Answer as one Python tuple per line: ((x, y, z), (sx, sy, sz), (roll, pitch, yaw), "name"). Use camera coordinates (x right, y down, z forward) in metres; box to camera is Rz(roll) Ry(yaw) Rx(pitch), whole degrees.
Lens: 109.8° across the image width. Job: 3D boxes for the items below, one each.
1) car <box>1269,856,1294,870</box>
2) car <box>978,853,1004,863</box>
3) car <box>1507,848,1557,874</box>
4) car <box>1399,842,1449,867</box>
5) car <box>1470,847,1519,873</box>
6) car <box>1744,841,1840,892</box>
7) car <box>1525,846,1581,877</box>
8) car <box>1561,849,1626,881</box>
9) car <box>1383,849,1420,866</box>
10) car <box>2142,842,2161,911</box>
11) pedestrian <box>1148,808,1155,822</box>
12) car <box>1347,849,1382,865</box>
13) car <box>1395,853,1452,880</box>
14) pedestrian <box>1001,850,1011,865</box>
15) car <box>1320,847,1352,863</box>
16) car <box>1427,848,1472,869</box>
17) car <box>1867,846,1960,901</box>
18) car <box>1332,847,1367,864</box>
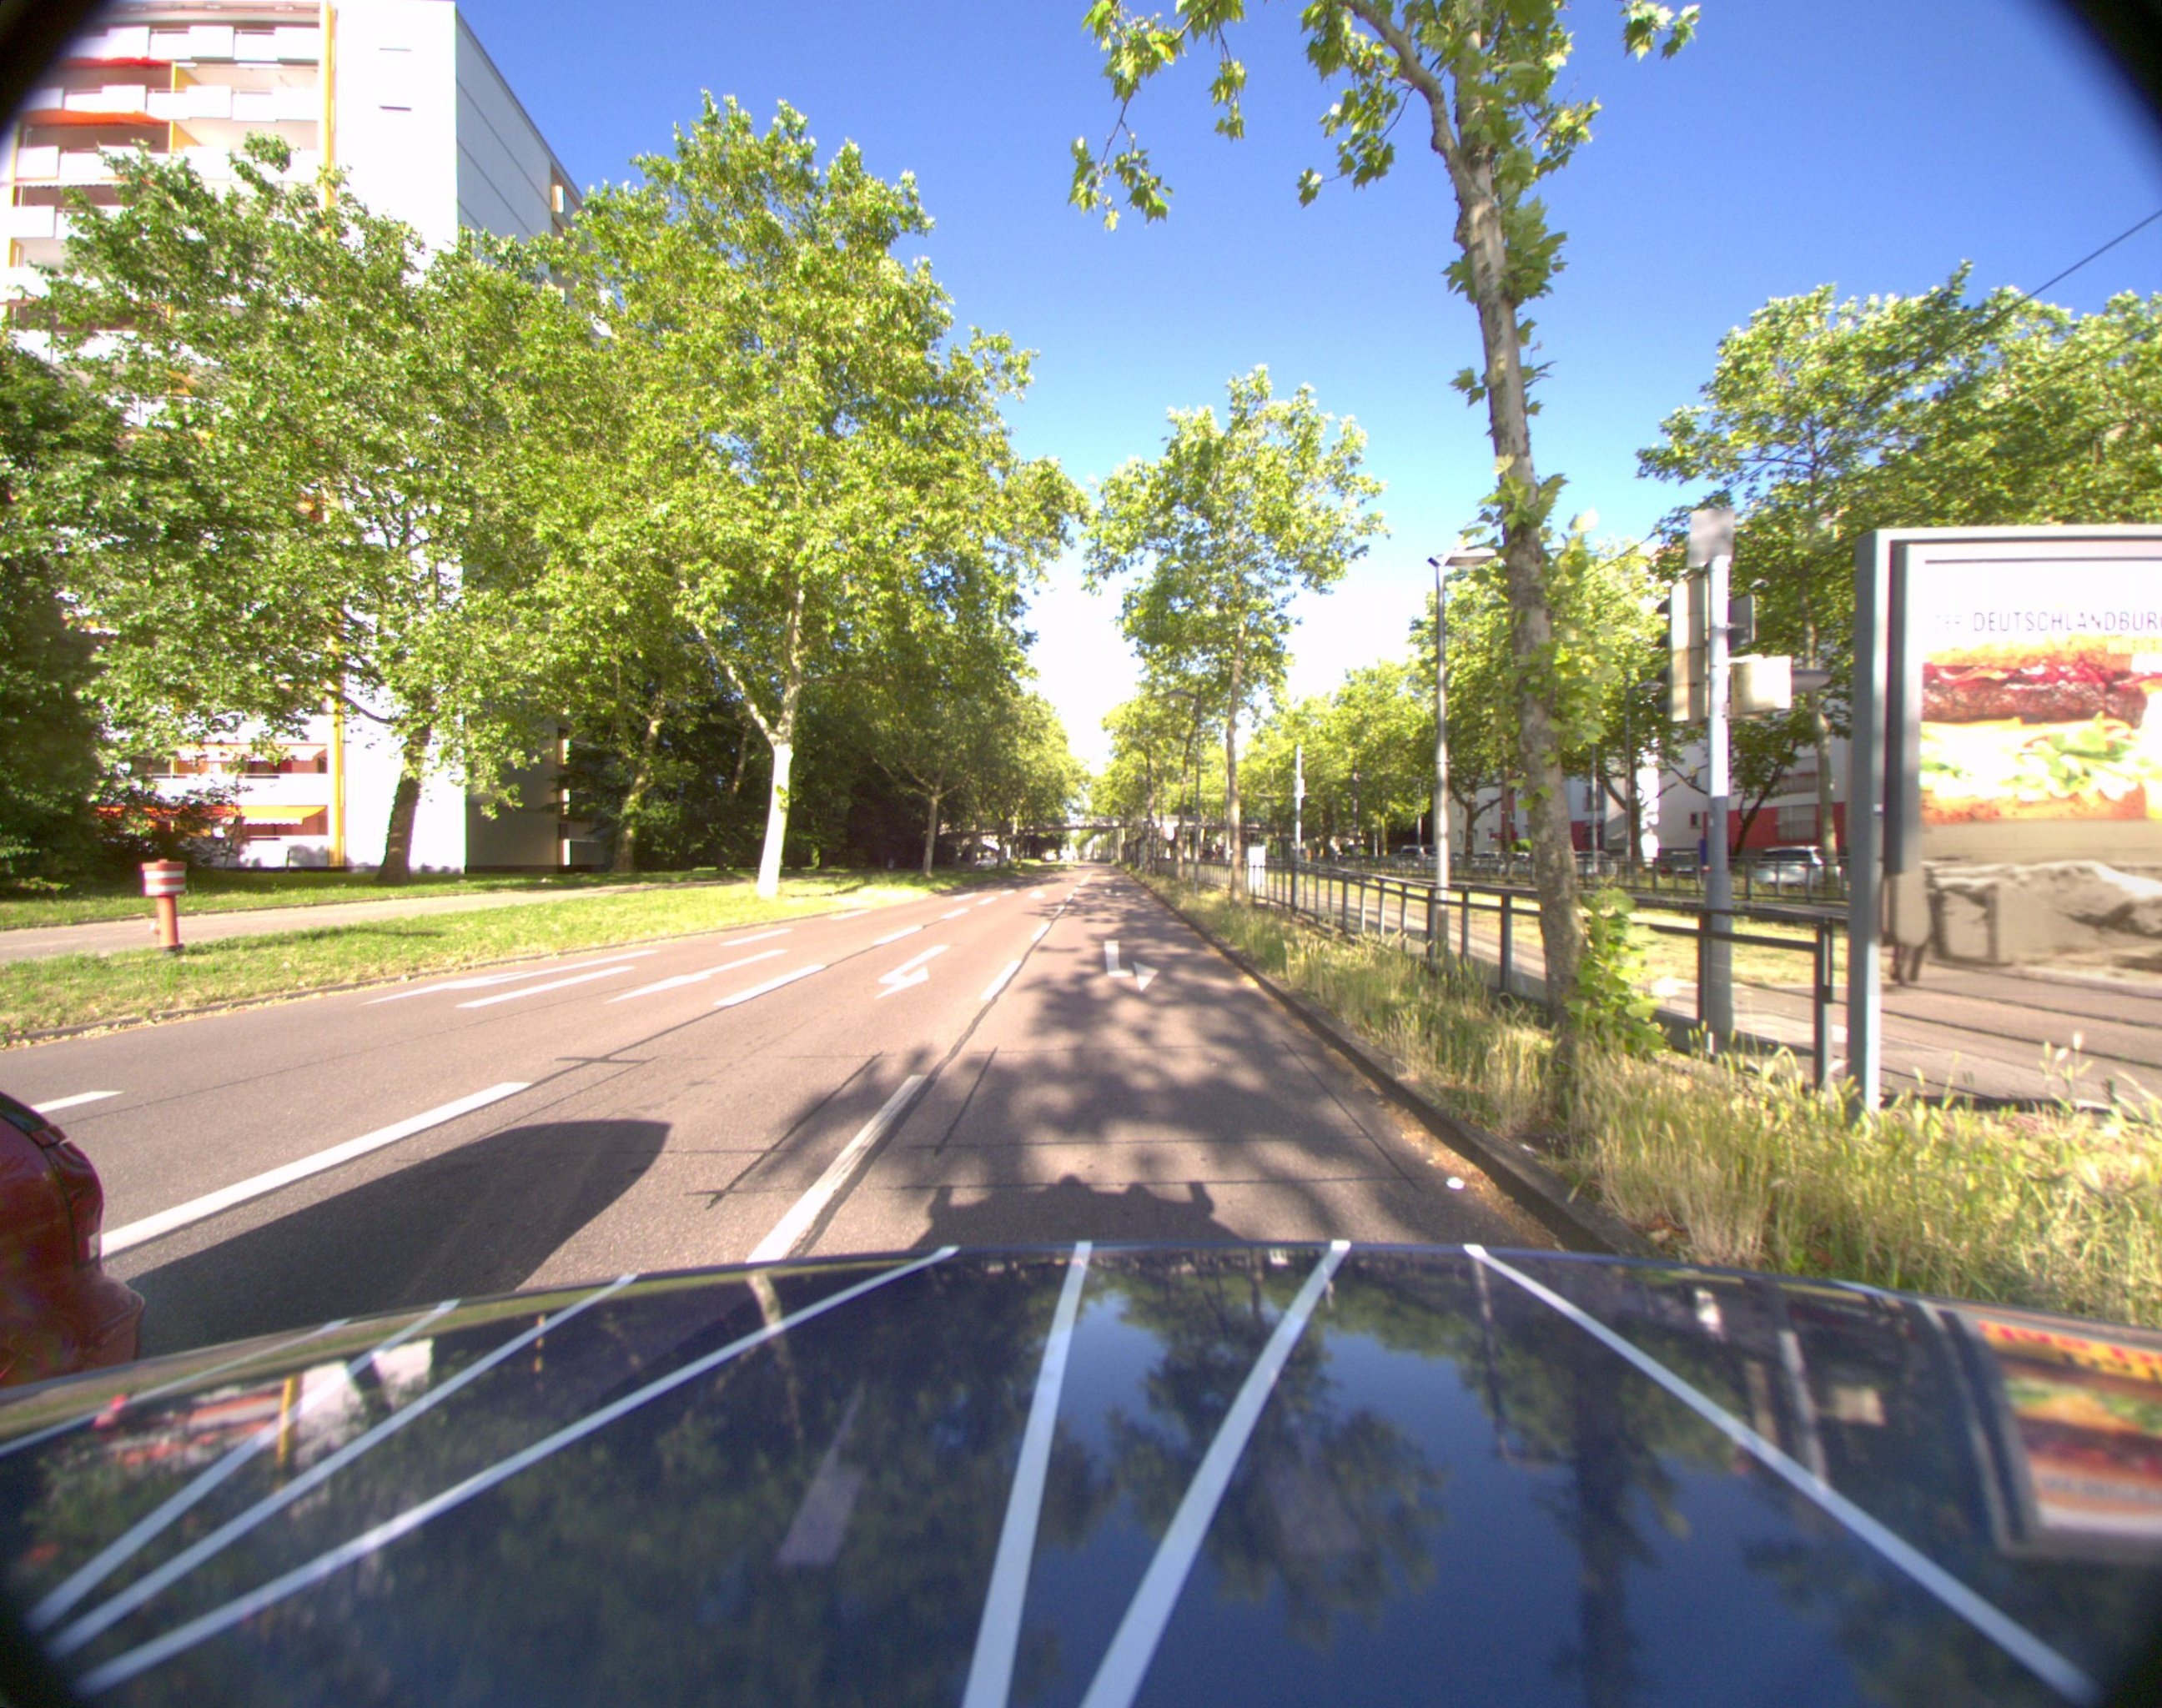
((23.036, 0.975, 87.344), (1.769, 1.503, 4.102), (-1, 0, 1), "car")
((-14.443, 0.619, 121.462), (3.999, 1.465, 1.797), (-3, 1, -8), "car")
((26.415, 0.400, 44.481), (3.493, 1.321, 1.476), (-3, 0, -41), "car")
((25.734, 0.039, 56.924), (4.056, 1.802, 1.864), (-1, 1, -40), "car")
((25.856, 0.357, 47.466), (3.493, 1.417, 1.558), (-3, -1, -42), "car")
((25.224, 0.407, 26.928), (4.007, 1.586, 1.810), (-3, 1, -37), "car")
((25.708, 0.397, 41.353), (3.402, 1.499, 1.461), (-3, 1, -37), "car")
((25.519, 0.522, 37.767), (3.890, 1.406, 1.486), (-3, 1, -37), "car")
((27.014, 0.291, 64.066), (3.494, 1.293, 1.476), (-1, 1, -41), "car")
((24.610, 0.526, 16.235), (4.007, 1.479, 1.689), (-3, 1, -44), "car")
((9.414, -5.211, 101.351), (0.738, 1.873, 0.511), (-3, 1, 0), "pedestrian")
((25.701, 0.272, 68.907), (3.494, 1.312, 1.476), (-1, 1, -41), "car")
((20.734, 0.749, 46.221), (1.810, 1.514, 4.331), (-1, 0, 5), "car")
((-10.871, 0.521, 110.317), (0.917, 2.002, 0.964), (-2, 1, 37), "pedestrian")
((26.672, 0.109, 79.520), (3.742, 1.517, 1.597), (-1, 1, -43), "car")
((26.131, 0.326, 53.832), (3.494, 1.395, 1.623), (-1, 1, -41), "car")
((25.239, 0.544, 23.000), (3.770, 1.420, 1.555), (-3, 1, -37), "car")
((25.965, 0.119, 73.445), (3.835, 1.561, 1.597), (-1, 1, -43), "car")
